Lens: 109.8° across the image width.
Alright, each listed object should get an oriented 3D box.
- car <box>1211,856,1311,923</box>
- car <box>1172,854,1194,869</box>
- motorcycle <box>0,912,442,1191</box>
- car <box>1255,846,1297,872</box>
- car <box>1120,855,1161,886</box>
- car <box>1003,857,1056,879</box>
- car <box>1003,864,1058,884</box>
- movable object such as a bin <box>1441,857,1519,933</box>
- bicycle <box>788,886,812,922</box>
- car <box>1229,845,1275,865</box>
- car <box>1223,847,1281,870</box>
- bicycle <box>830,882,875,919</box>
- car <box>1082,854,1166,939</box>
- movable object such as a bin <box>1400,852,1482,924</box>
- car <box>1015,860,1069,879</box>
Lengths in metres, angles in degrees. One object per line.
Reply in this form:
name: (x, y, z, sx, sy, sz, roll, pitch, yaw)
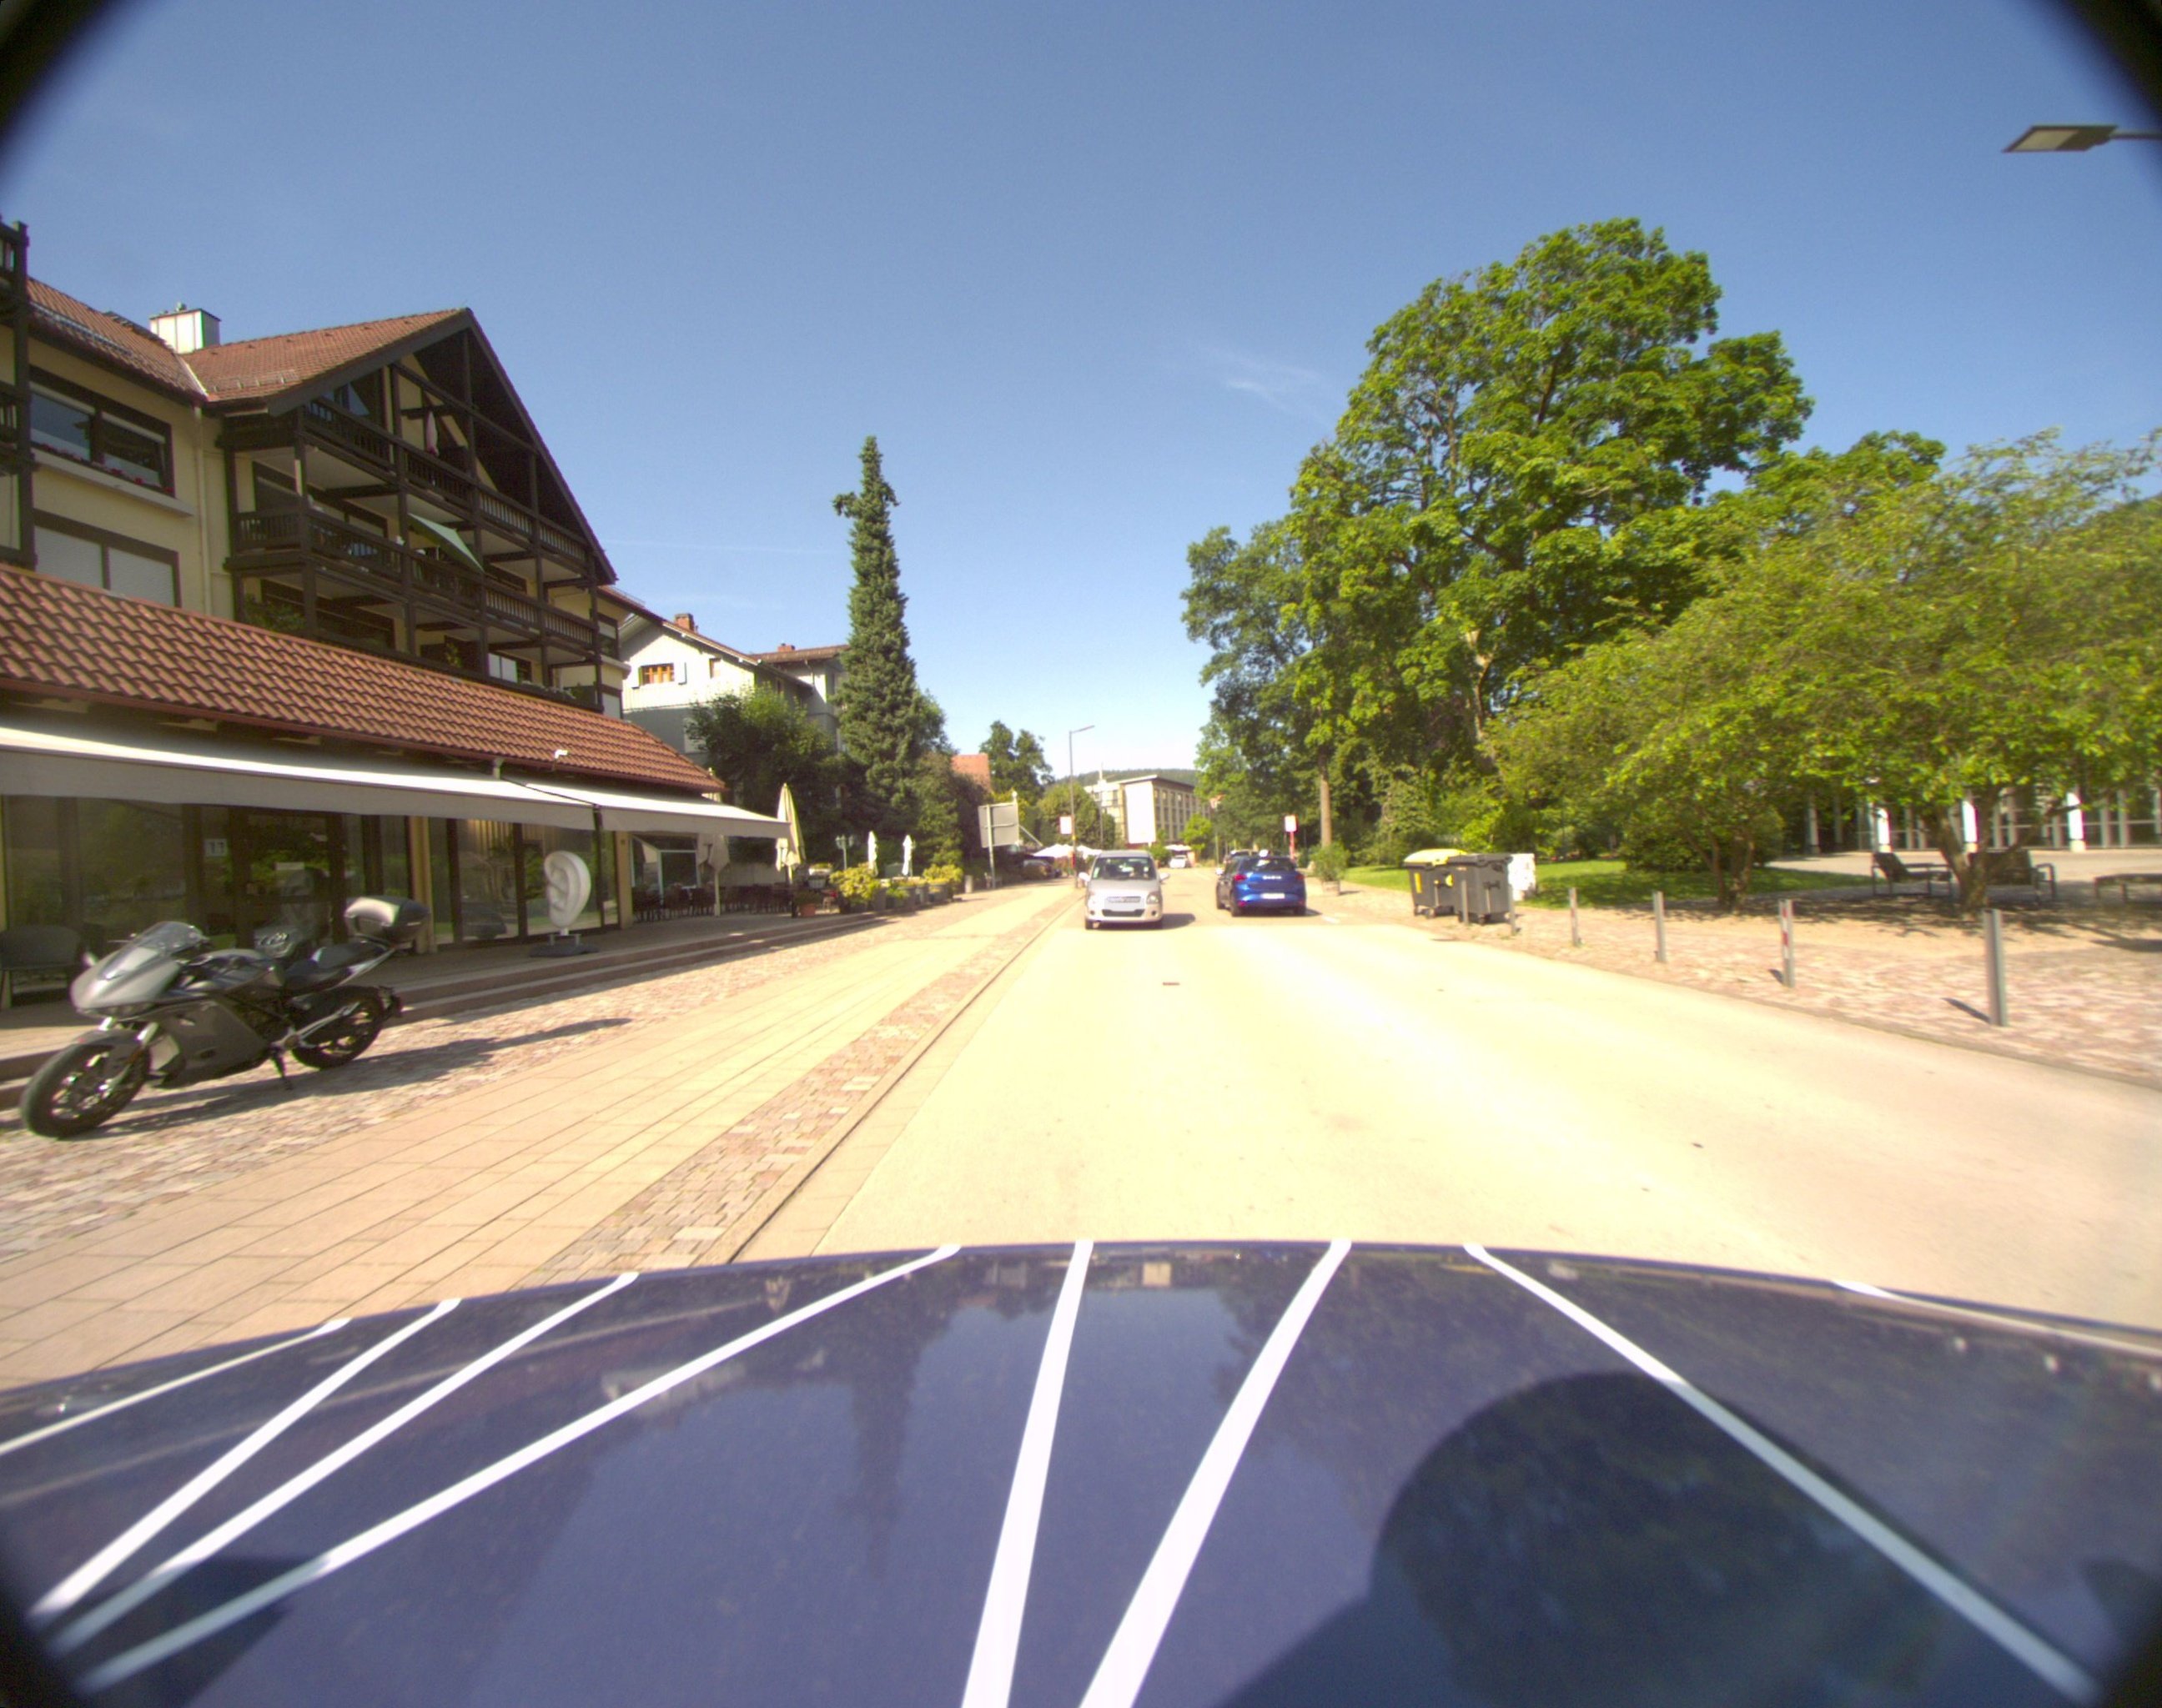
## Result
car: (4.499, 0.822, 19.548, 1.745, 1.454, 4.187, -1, 1, 3)
car: (12.259, 0.891, 91.272, 1.652, 1.462, 4.005, -5, -1, 21)
motorcycle: (-5.583, 1.113, 5.062, 0.698, 1.288, 2.212, 0, 0, 2)
car: (13.319, 0.330, 52.037, 2.655, 1.537, 1.684, -5, 0, 12)
car: (3.258, 0.853, 40.798, 1.739, 1.488, 3.932, -4, 0, 10)
car: (-3.997, 1.091, 59.290, 3.884, 1.571, 1.749, -3, 0, 3)
car: (-4.045, 1.634, 61.718, 4.117, 1.407, 1.749, -3, 0, 8)
movable object such as a bin: (7.638, 0.756, 14.596, 0.756, 1.333, 1.295, -5, 0, 3)
bicycle: (-7.356, 1.291, 19.919, 0.397, 0.837, 1.614, -4, 1, -15)
car: (17.662, 0.070, 78.662, 4.491, 1.654, 1.811, -5, 0, 9)
car: (13.865, 0.352, 61.763, 4.286, 1.423, 1.713, -5, 0, 0)
bicycle: (-6.085, 1.223, 20.317, 0.397, 0.858, 1.617, -3, 0, 12)
car: (0.882, 0.831, 16.862, 1.604, 1.628, 4.000, -1, 0, 1)
movable object such as a bin: (7.817, 0.708, 16.583, 1.081, 1.419, 1.377, -5, 0, 3)
car: (-3.314, 1.297, 64.423, 4.270, 1.371, 1.710, -3, 0, 8)
